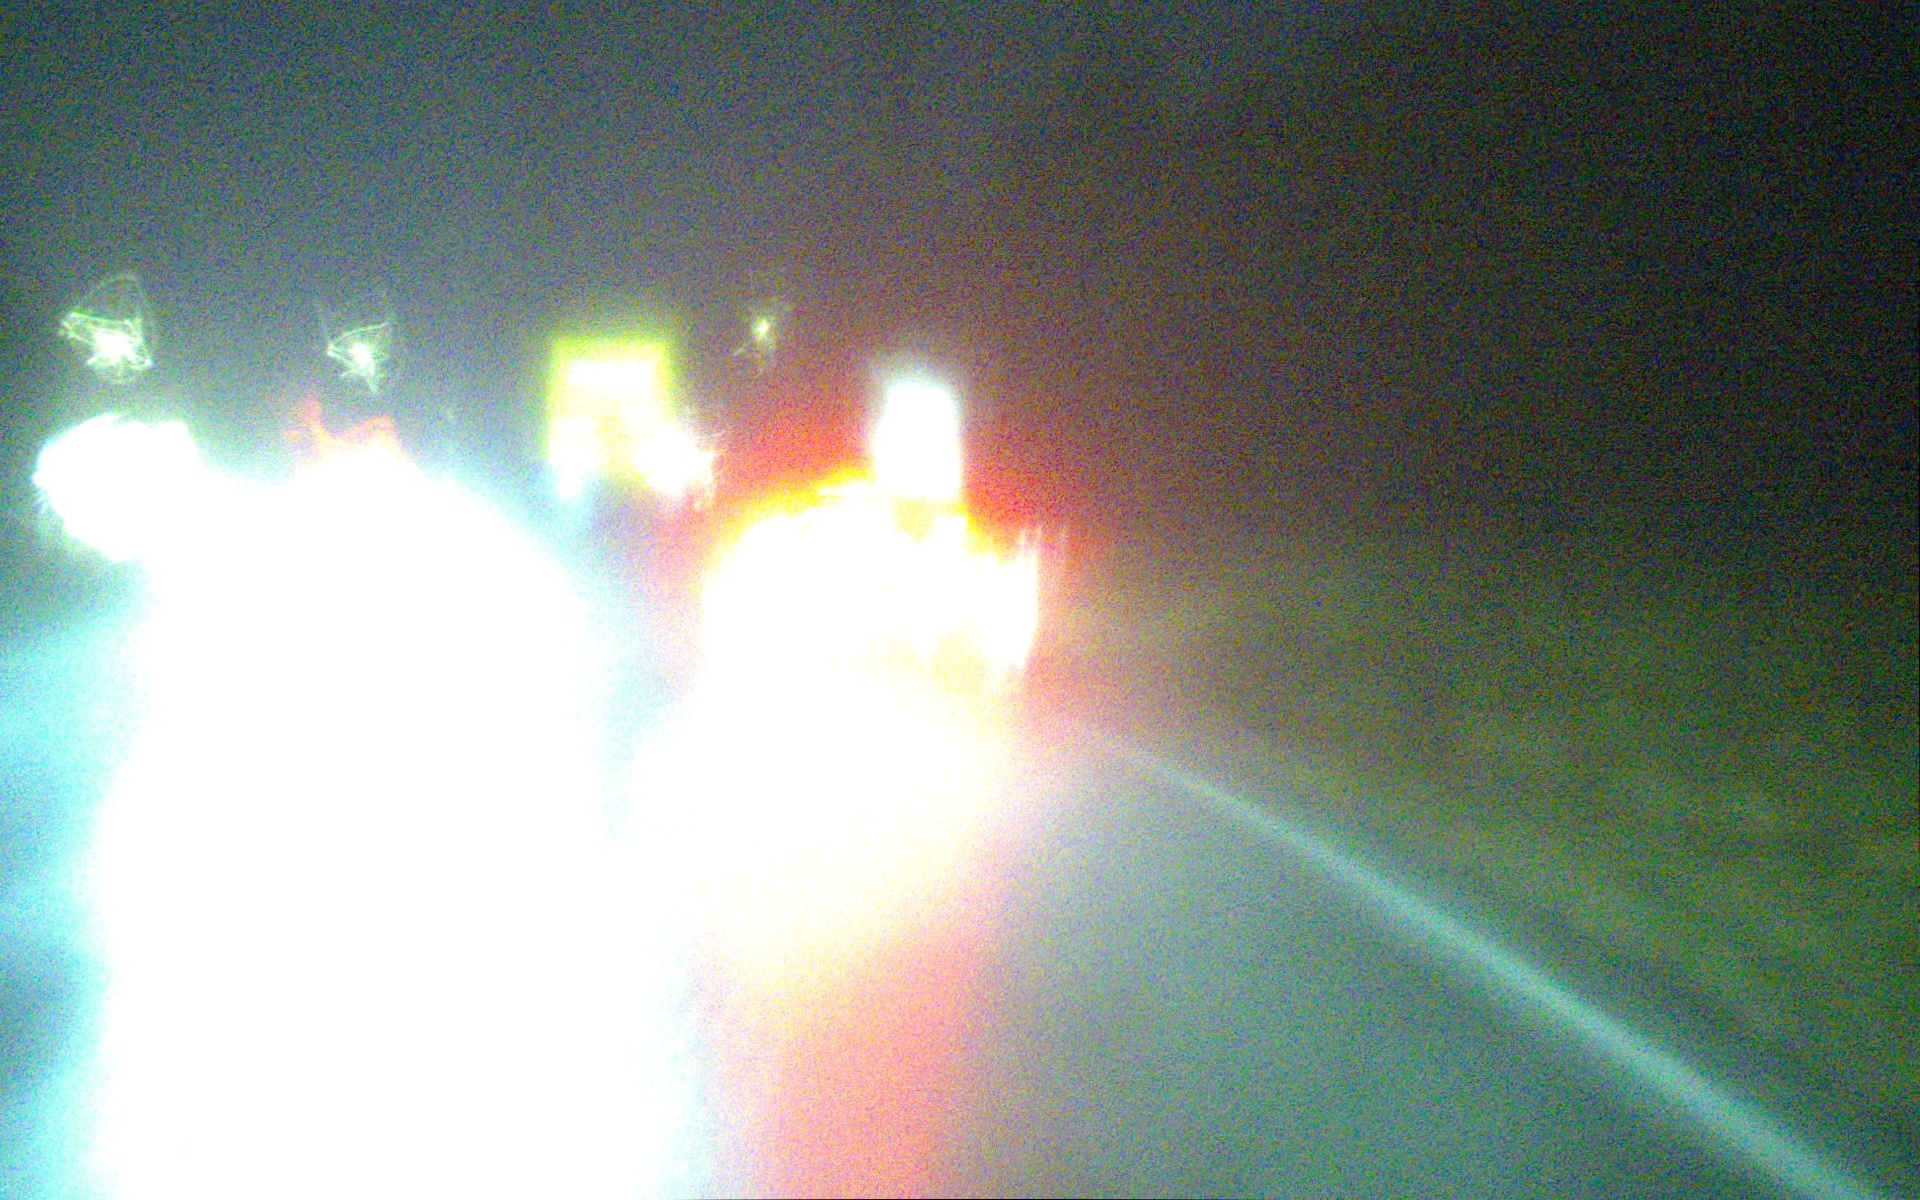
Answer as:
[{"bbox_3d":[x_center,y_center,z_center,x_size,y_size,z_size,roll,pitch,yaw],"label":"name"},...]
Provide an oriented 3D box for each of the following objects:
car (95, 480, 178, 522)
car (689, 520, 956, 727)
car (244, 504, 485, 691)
[{"bbox_3d":[-30.012,-3.619,125.202,1.771,1.478,4.381,-1,2,-30],"label":"car"},{"bbox_3d":[-1.315,0.139,30.525,1.993,1.622,4.986,0,2,-7],"label":"car"},{"bbox_3d":[-5.557,-0.081,32.606,1.930,1.579,4.986,-2,1,-7],"label":"car"}]
